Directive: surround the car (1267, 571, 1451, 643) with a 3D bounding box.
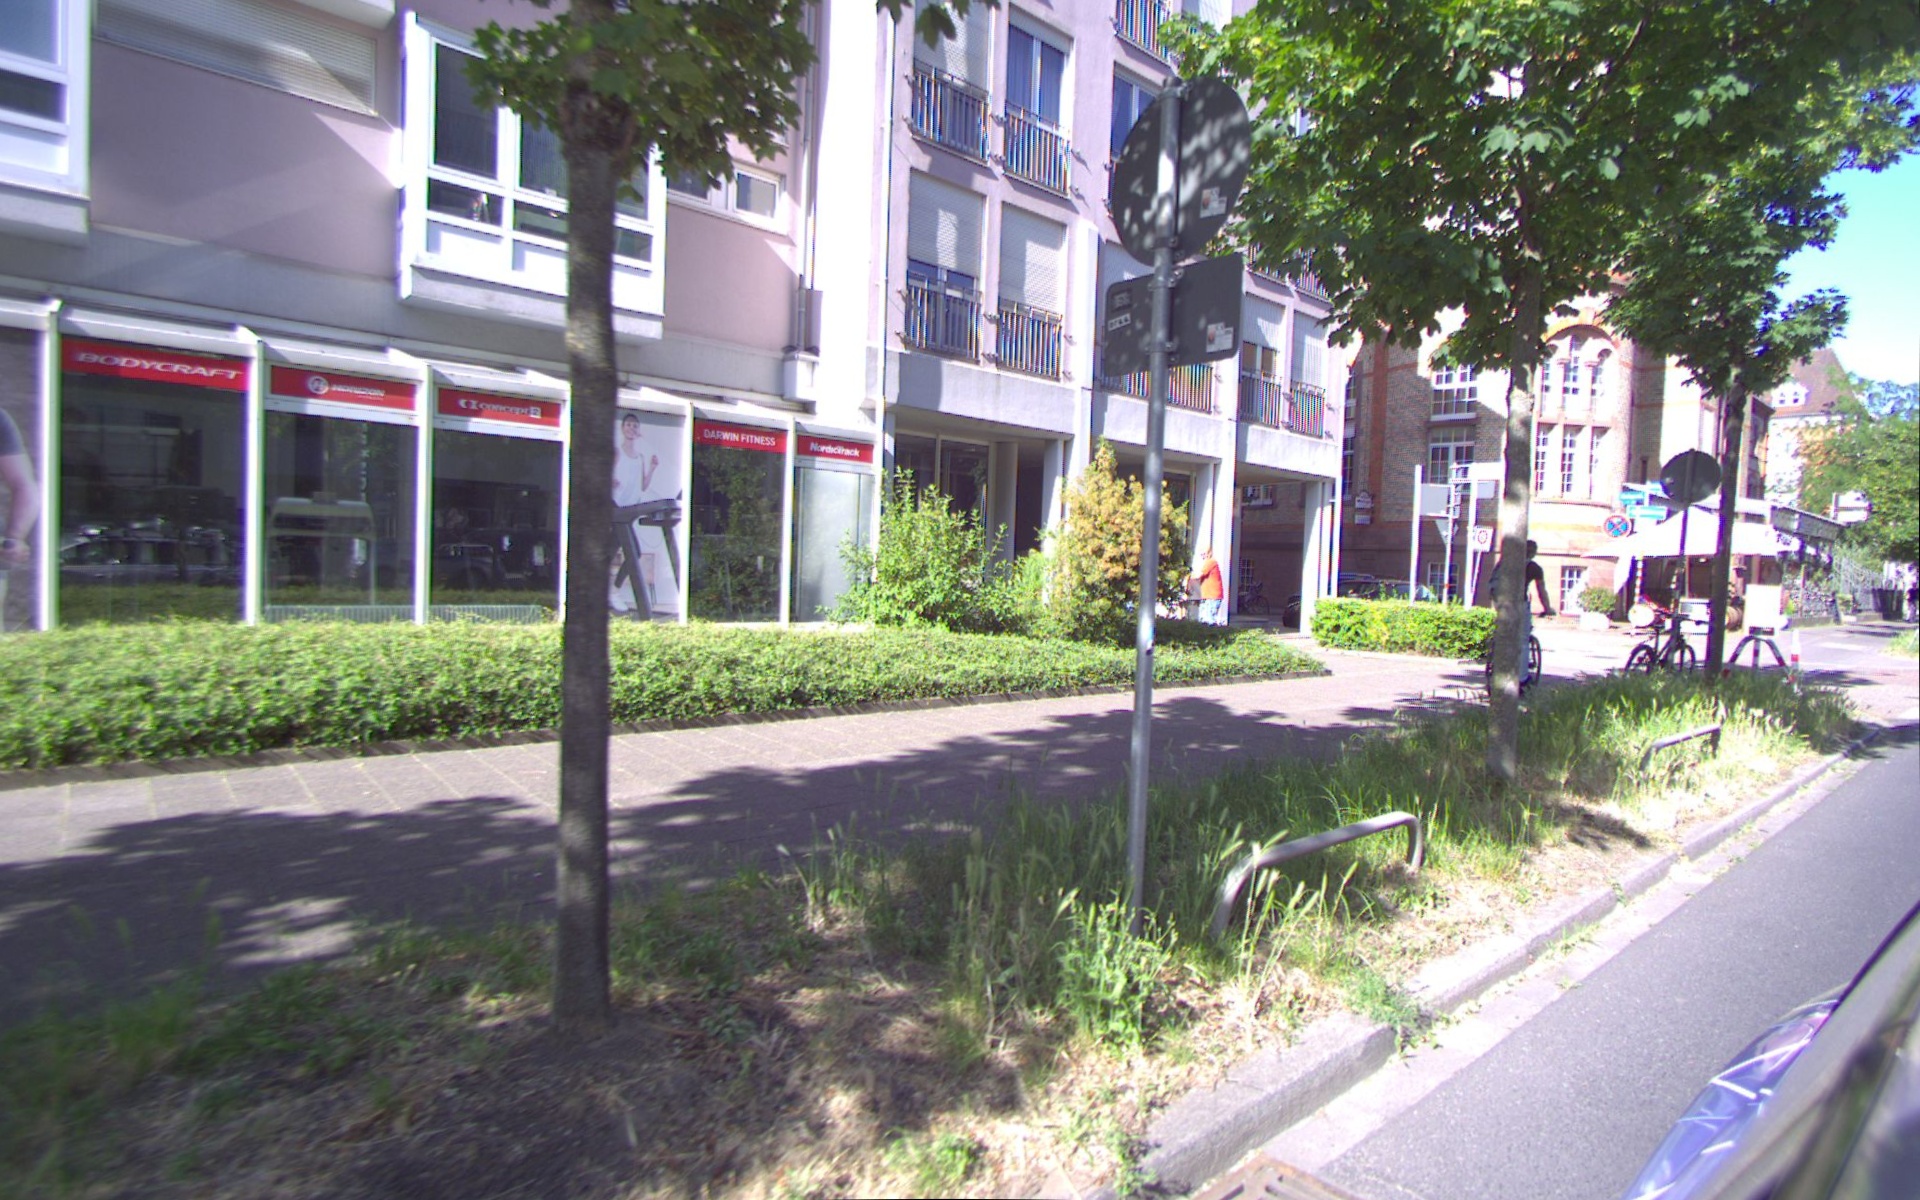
[{"bbox_3d":[9.623,0.095,24.706,1.824,1.541,3.964,-1,2,-27],"label":"car"}]

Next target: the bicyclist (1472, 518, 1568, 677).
[{"bbox_3d":[6.334,-0.044,11.449,0.874,1.716,0.668,-1,2,-42],"label":"bicyclist"}]

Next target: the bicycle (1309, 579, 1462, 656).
[{"bbox_3d":[6.910,0.268,16.550,0.675,1.040,2.202,3,2,-39],"label":"bicycle"}]

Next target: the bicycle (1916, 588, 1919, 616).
[{"bbox_3d":[42.425,0.130,44.214,1.810,1.190,0.654,1,5,-40],"label":"bicycle"}]

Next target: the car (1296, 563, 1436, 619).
[{"bbox_3d":[12.673,-0.342,31.855,1.758,1.541,3.966,-2,4,-24],"label":"car"}]

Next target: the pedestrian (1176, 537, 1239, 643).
[{"bbox_3d":[3.981,-0.168,16.289,0.654,1.622,0.594,8,6,43],"label":"pedestrian"}]

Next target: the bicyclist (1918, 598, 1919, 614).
[{"bbox_3d":[42.474,-0.219,44.220,0.873,1.715,0.647,1,5,-40],"label":"bicyclist"}]

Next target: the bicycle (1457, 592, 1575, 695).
[{"bbox_3d":[6.338,0.452,11.497,1.828,1.040,0.590,-1,3,-42],"label":"bicycle"}]

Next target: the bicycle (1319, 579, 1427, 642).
[{"bbox_3d":[7.716,0.204,18.870,2.159,1.040,0.688,3,2,-33],"label":"bicycle"}]

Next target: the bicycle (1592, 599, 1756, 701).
[{"bbox_3d":[8.229,0.558,11.654,1.980,1.079,0.594,1,2,-25],"label":"bicycle"}]

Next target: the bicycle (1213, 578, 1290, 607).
[{"bbox_3d":[10.772,-0.279,37.373,2.714,1.040,1.061,-1,1,-27],"label":"bicycle"}]
